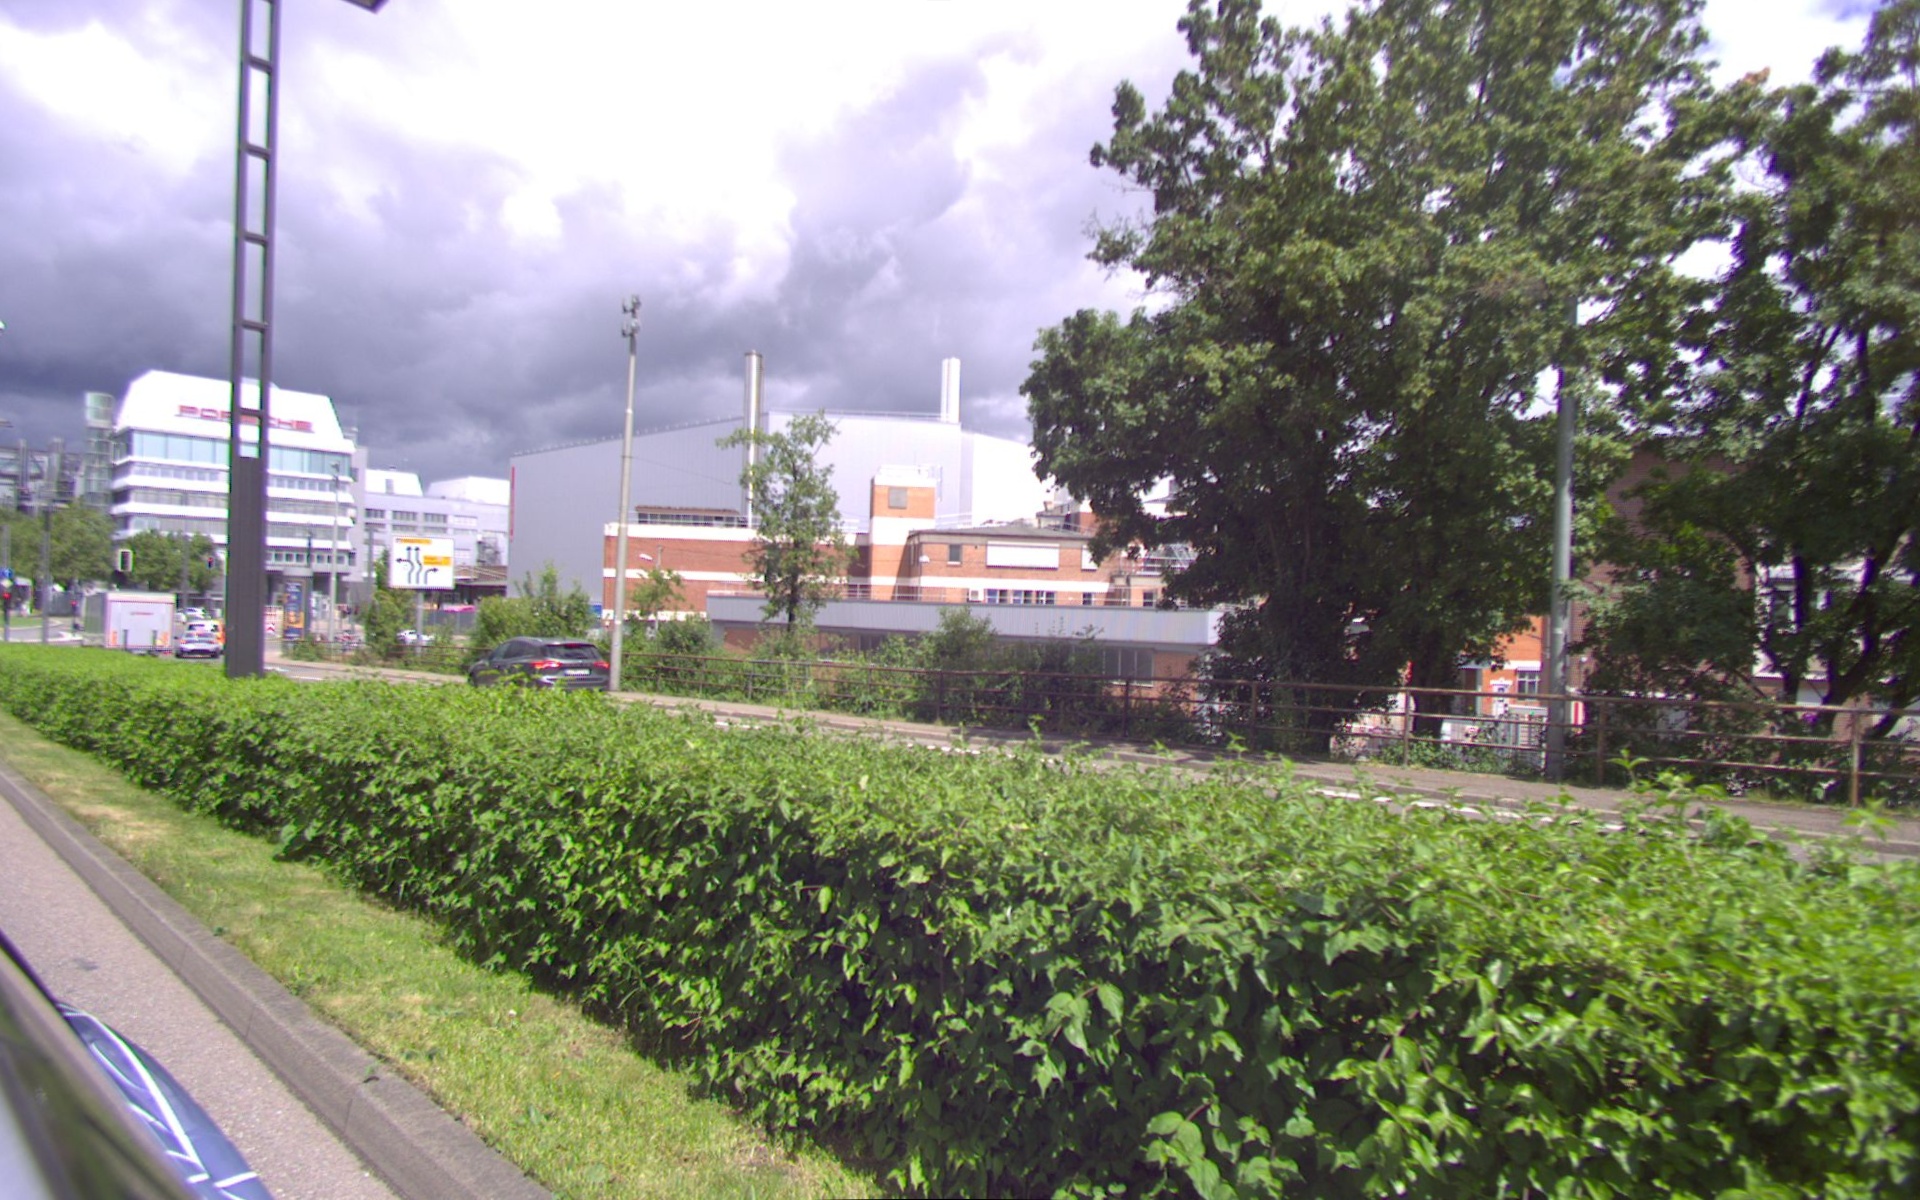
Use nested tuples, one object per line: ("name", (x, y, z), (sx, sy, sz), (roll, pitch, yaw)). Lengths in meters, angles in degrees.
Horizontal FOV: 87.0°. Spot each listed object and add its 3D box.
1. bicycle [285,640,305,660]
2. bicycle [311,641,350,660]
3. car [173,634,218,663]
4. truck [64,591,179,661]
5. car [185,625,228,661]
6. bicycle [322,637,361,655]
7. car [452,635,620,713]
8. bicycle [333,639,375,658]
("bicycle", (-33.227, 2.489, 50.559), (0.513, 0.996, 1.952), (2, -3, -43))
("bicycle", (-35.287, 2.818, 56.730), (0.616, 0.996, 1.939), (-1, -2, 17))
("car", (-40.526, 2.569, 53.652), (1.773, 1.433, 4.501), (3, -3, -38))
("truck", (-38.957, 1.317, 46.895), (9.375, 2.879, 2.824), (-4, -4, 42))
("car", (-44.278, 2.490, 59.476), (1.967, 1.973, 4.638), (1, -1, -37))
("bicycle", (-34.557, 2.558, 56.593), (0.616, 0.996, 1.939), (-1, -2, 17))
("car", (-9.465, 1.555, 22.412), (4.563, 1.519, 1.819), (-2, -3, 45))
("bicycle", (-33.560, 2.670, 56.047), (0.619, 0.996, 1.928), (-2, -3, 32))
